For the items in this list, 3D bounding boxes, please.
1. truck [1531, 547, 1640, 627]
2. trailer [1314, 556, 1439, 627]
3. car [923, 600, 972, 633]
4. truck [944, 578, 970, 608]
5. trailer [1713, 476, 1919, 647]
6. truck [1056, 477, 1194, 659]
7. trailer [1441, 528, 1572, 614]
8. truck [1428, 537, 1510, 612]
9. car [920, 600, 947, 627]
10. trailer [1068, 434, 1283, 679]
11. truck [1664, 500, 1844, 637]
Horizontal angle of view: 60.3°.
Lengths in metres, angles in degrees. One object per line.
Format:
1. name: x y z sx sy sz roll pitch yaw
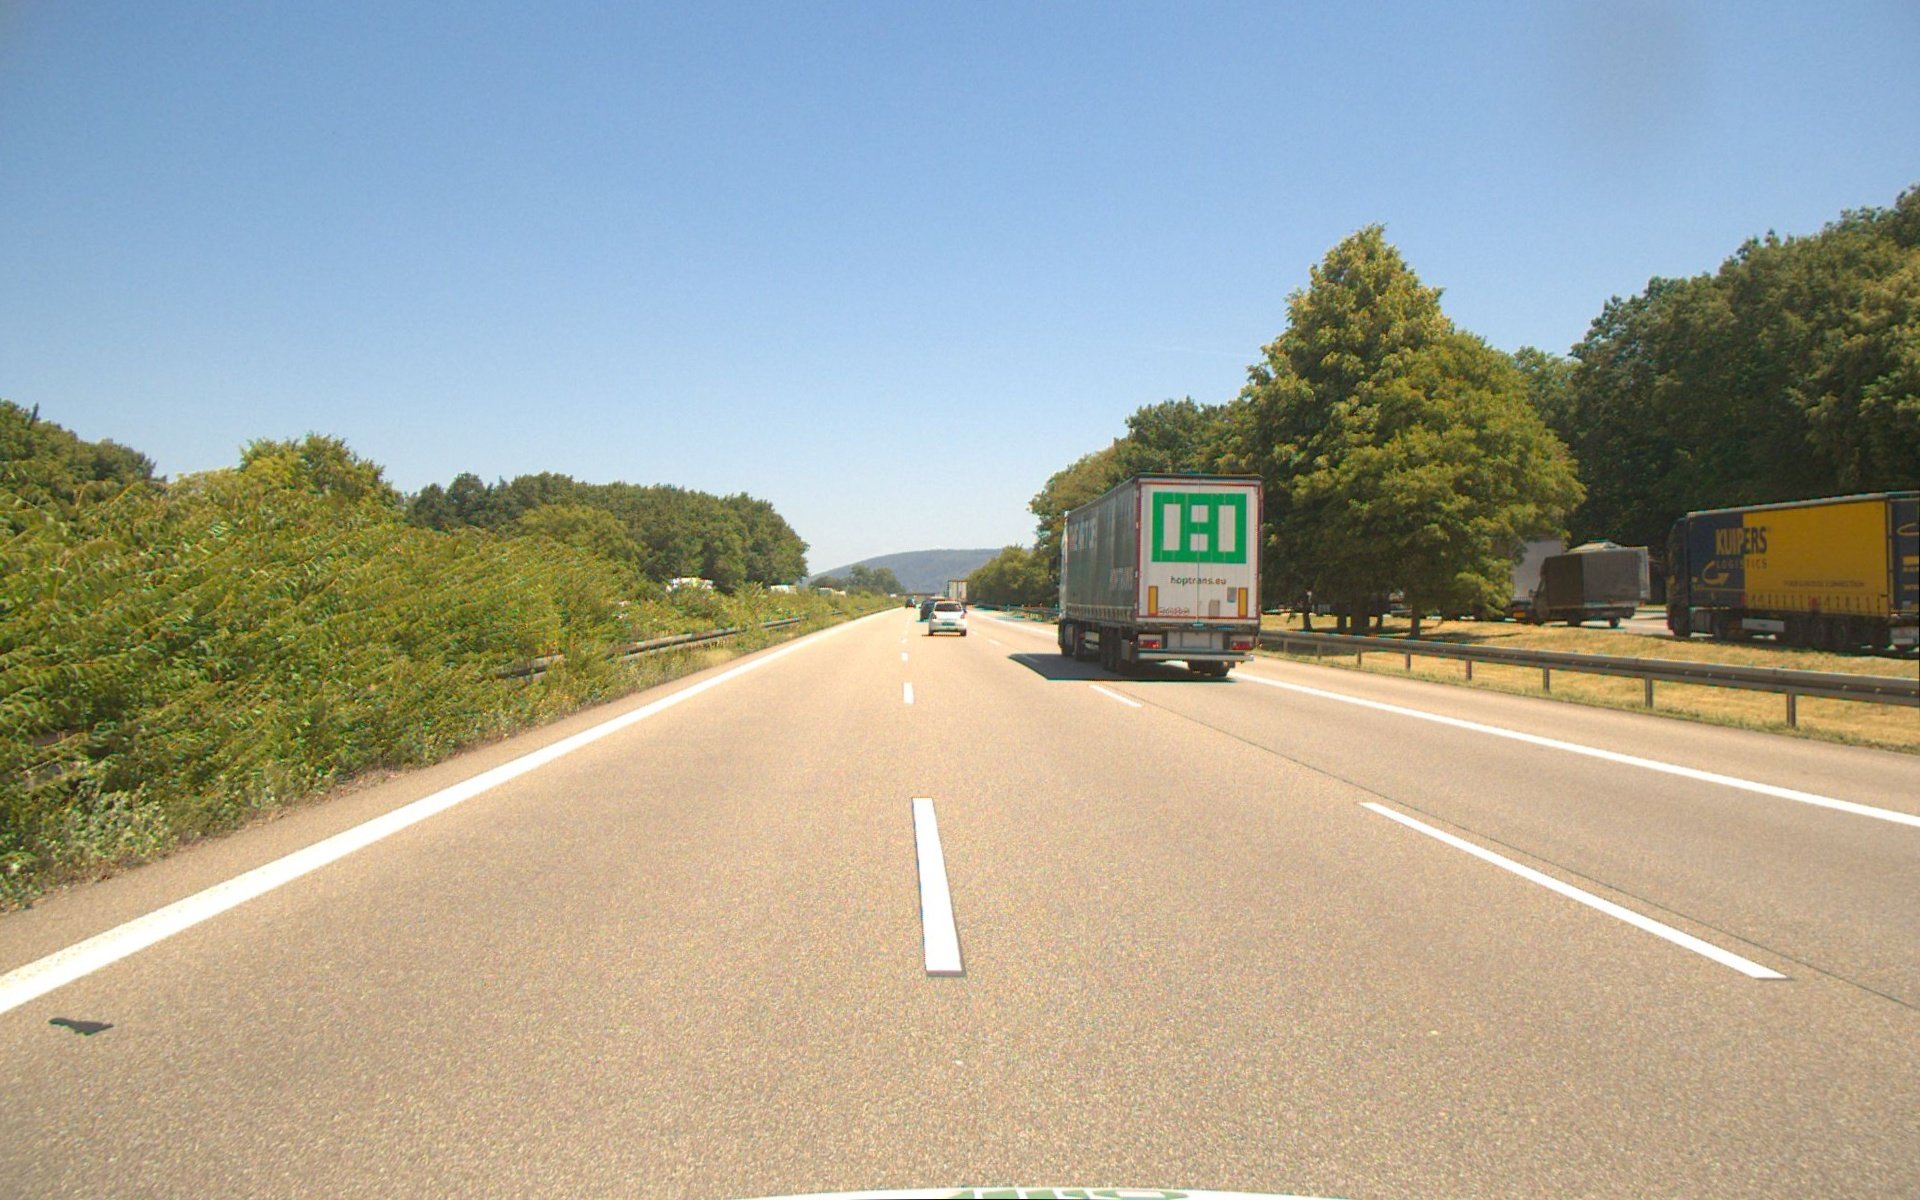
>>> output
1. truck: 25.804 -0.526 68.546 2.416 3.140 6.620 1 0 4
2. trailer: 25.467 -0.515 102.197 3.073 4.021 14.183 -1 0 -4
3. car: -0.587 0.713 74.229 1.777 1.429 3.311 0 0 -8
4. truck: -0.442 -0.919 222.894 3.258 3.822 12.792 1 0 -1
5. trailer: 23.733 -0.897 44.319 3.116 4.004 11.559 0 0 7
6. truck: 4.426 -0.827 45.570 3.117 4.688 5.946 0 0 -1
7. trailer: 26.657 -1.317 81.482 3.037 3.856 13.370 1 0 5
8. truck: 27.122 -1.318 88.365 3.024 3.856 5.319 1 0 4
9. car: -1.935 0.959 122.456 1.858 1.926 4.001 -1 0 1
10. trailer: 4.561 -0.852 37.935 3.117 4.708 12.047 0 0 -1
11. truck: 24.655 -0.910 51.742 3.116 4.004 6.622 0 0 7
